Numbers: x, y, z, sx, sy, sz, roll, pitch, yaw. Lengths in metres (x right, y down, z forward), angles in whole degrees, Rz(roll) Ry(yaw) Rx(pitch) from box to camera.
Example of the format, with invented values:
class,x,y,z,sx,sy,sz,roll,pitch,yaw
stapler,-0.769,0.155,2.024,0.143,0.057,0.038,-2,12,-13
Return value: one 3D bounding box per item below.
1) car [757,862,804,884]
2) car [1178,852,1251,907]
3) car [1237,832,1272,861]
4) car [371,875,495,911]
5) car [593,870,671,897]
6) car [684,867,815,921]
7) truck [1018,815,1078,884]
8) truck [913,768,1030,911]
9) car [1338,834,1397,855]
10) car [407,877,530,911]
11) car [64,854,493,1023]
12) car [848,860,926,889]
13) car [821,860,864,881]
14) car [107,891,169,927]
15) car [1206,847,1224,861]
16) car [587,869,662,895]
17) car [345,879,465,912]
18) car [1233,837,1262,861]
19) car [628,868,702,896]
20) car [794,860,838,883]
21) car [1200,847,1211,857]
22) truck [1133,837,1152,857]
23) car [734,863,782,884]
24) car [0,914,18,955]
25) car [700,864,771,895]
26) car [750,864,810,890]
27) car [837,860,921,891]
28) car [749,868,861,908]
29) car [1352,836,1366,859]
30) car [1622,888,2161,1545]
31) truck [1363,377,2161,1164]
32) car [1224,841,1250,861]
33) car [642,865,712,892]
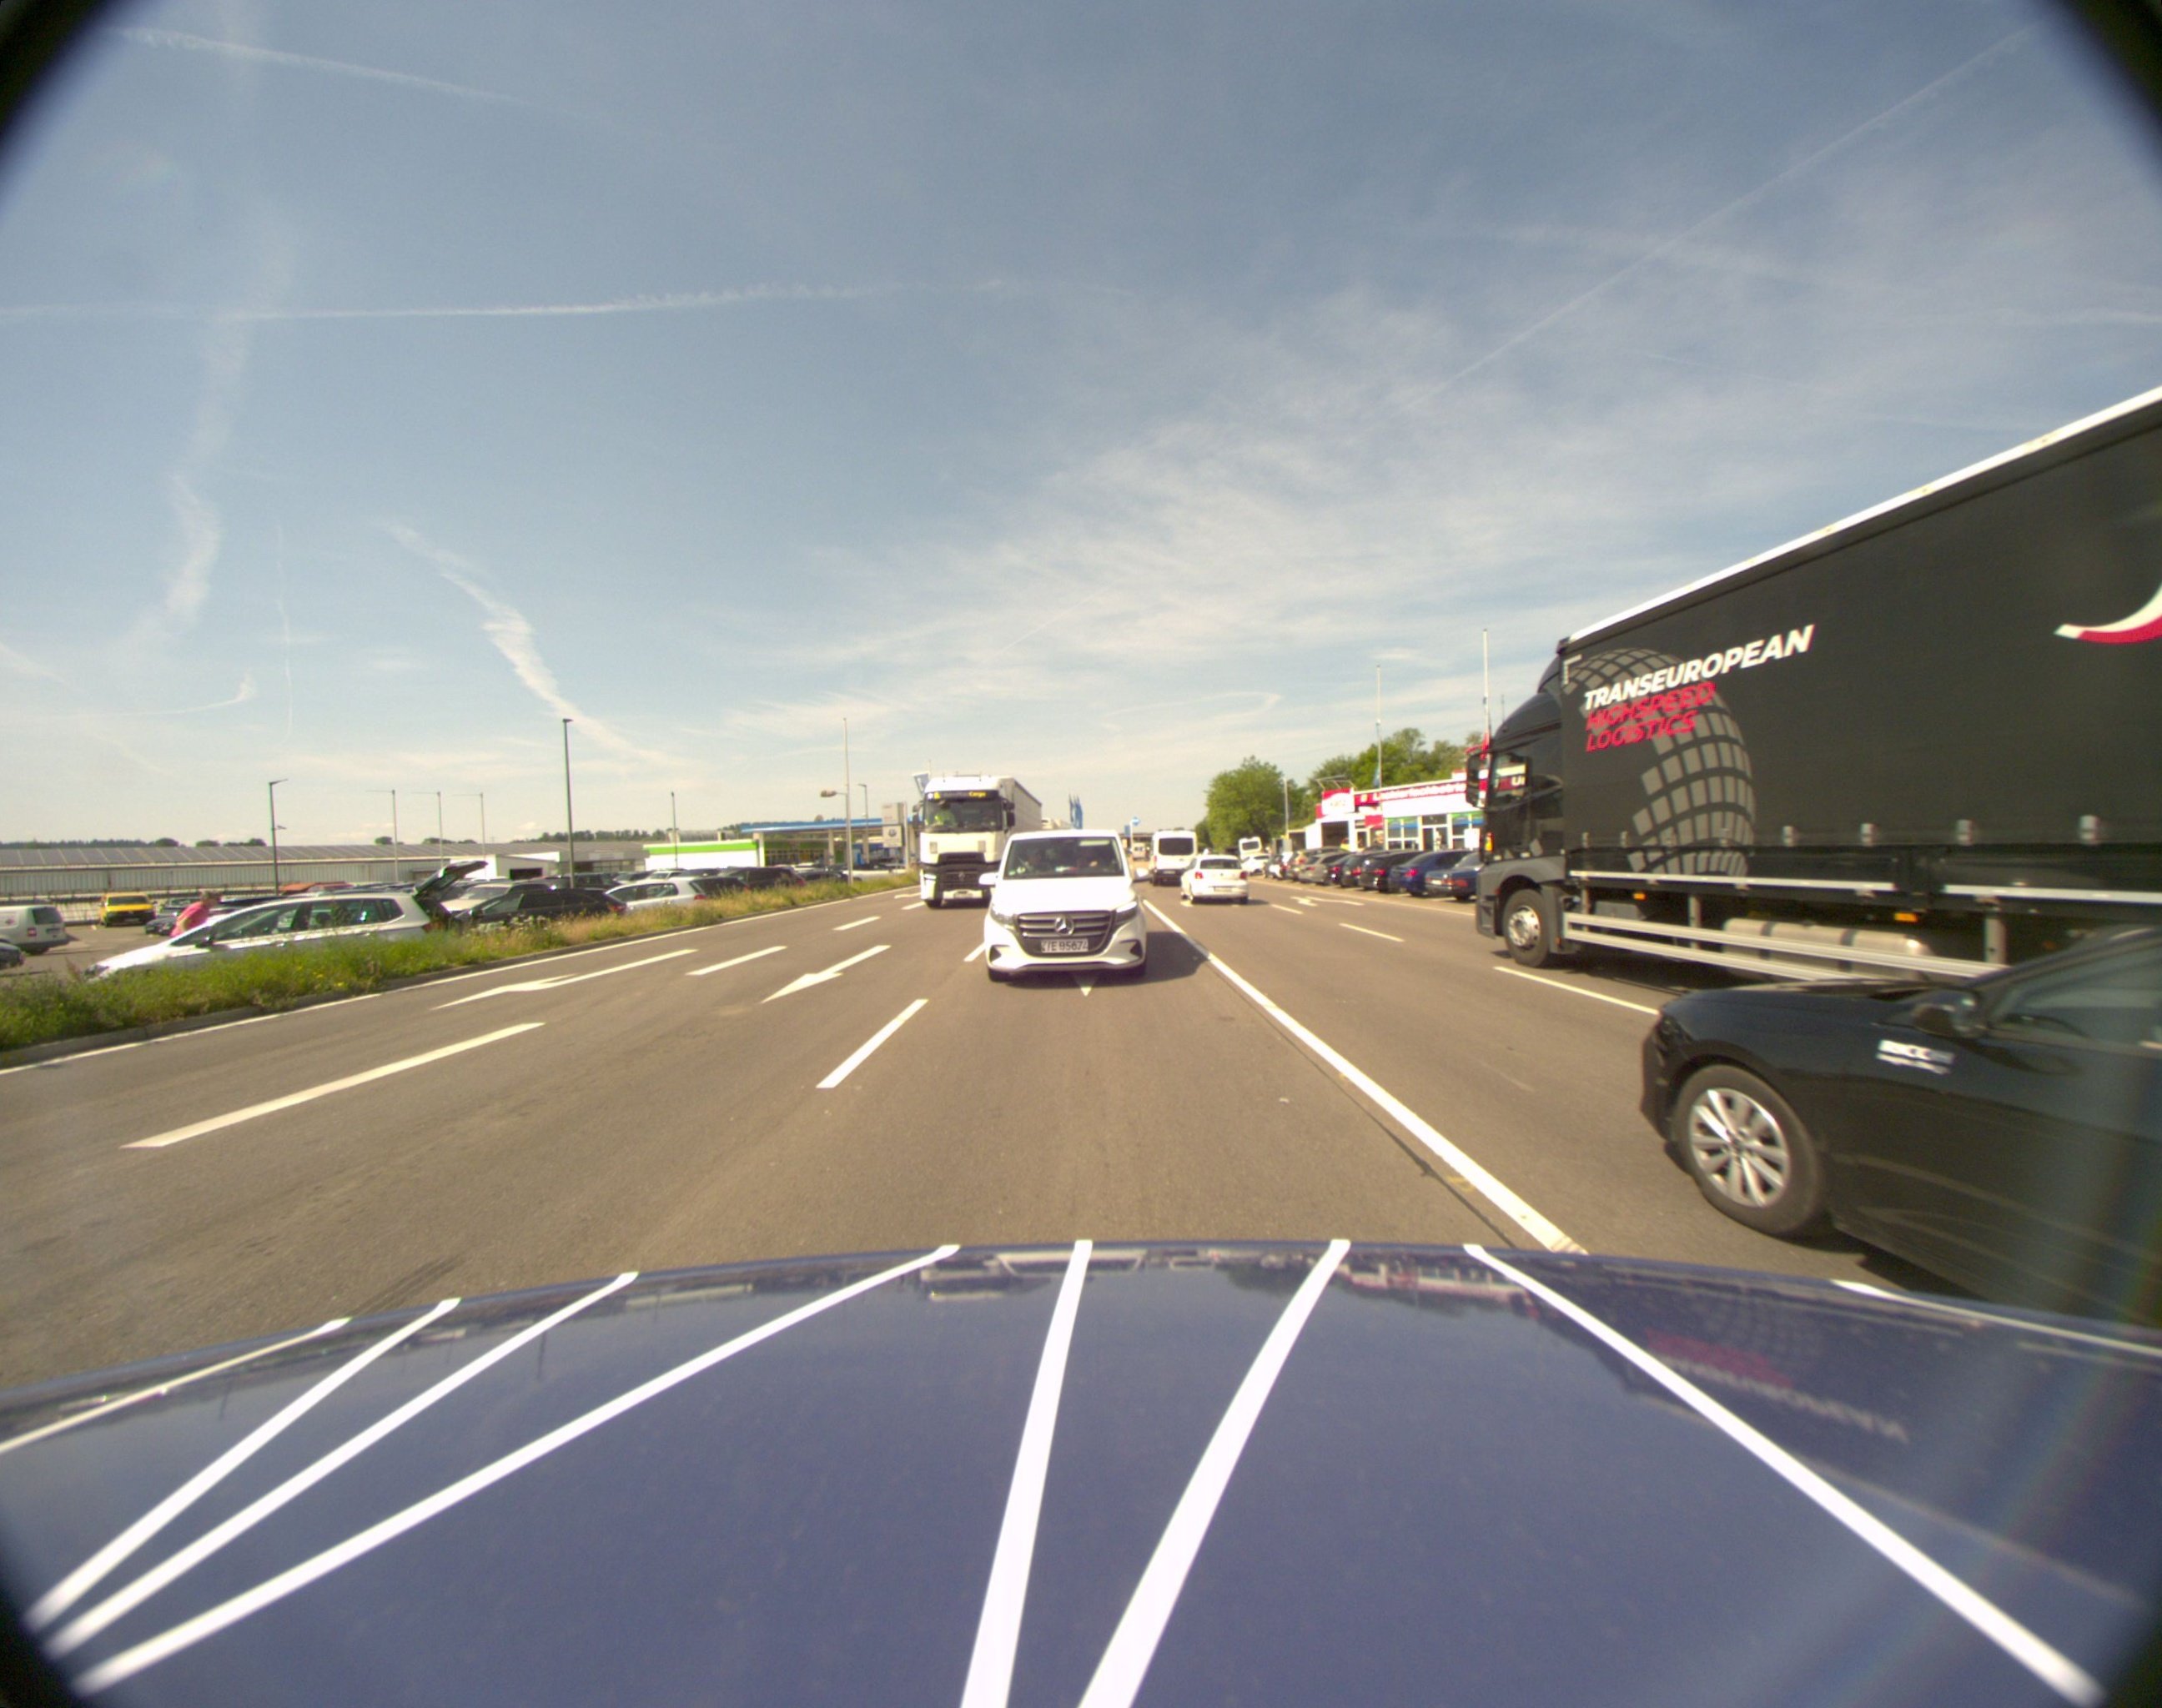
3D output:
class,x,y,z,sx,sy,sz,roll,pitch,yaw
car,-24.760,1.550,62.798,1.774,1.571,4.240,-1,0,6
car,4.041,0.711,23.503,1.657,1.546,4.000,0,0,2
car,16.759,-0.740,73.063,2.435,2.529,6.050,-2,0,20
car,-33.492,1.994,39.444,1.819,1.574,4.545,-1,0,23
car,-27.960,1.803,47.484,1.774,1.433,4.540,-1,0,6
car,-11.769,1.357,27.056,4.006,1.645,1.772,-2,1,-32
truck,-1.958,-0.313,49.178,2.646,3.963,9.241,-1,0,4
truck,-3.286,-0.423,24.378,2.647,3.963,6.041,-1,1,1
car,24.492,-0.789,65.005,4.539,1.644,1.873,-2,1,-17
car,-31.071,1.975,38.700,1.819,1.423,4.491,-1,0,23
car,-12.398,1.166,12.230,4.355,2.200,1.759,-2,1,-29
car,-12.295,1.293,48.138,4.543,1.645,1.772,-2,1,-24
car,-19.627,1.352,62.737,1.774,1.571,4.149,-1,0,6
car,-58.246,3.354,46.938,4.148,1.920,2.215,-1,1,37
car,15.257,0.013,86.816,1.827,1.517,4.461,0,0,7
car,-32.499,1.954,54.294,1.772,1.645,4.543,-1,0,17
car,-36.845,2.230,41.575,1.819,1.466,4.545,-1,0,23
car,18.456,-0.559,84.463,2.438,2.529,5.341,-2,0,5
car,-25.658,1.704,47.052,1.689,1.517,4.540,-1,0,6
car,-21.952,1.411,63.046,1.712,1.702,4.261,-1,0,6
car,24.853,-0.412,151.823,2.053,1.812,4.511,0,0,8
truck,9.117,-1.086,112.545,2.440,2.820,6.045,-1,0,8
car,-27.028,1.602,63.760,1.720,1.571,4.325,-1,0,6
car,-48.366,3.548,32.023,3.913,1.720,1.982,-2,1,-7
car,-20.718,1.521,45.817,1.774,1.645,4.540,-1,0,6
car,-20.327,1.503,51.523,1.774,1.571,4.540,-1,0,6
car,-12.049,1.239,45.323,4.544,1.645,1.772,-2,1,-26
car,-12.744,1.541,35.165,4.545,1.571,1.772,-2,1,-30
car,22.269,-0.522,60.824,0.881,1.825,0.846,-2,1,14
car,3.366,0.889,1.300,1.716,1.435,4.378,0,0,-1
truck,6.652,-0.464,8.776,2.718,3.975,9.973,-1,0,-2
car,18.474,-0.387,90.317,2.438,2.250,5.341,-2,0,5
car,-27.890,1.665,52.626,1.773,1.645,4.541,-1,0,10
